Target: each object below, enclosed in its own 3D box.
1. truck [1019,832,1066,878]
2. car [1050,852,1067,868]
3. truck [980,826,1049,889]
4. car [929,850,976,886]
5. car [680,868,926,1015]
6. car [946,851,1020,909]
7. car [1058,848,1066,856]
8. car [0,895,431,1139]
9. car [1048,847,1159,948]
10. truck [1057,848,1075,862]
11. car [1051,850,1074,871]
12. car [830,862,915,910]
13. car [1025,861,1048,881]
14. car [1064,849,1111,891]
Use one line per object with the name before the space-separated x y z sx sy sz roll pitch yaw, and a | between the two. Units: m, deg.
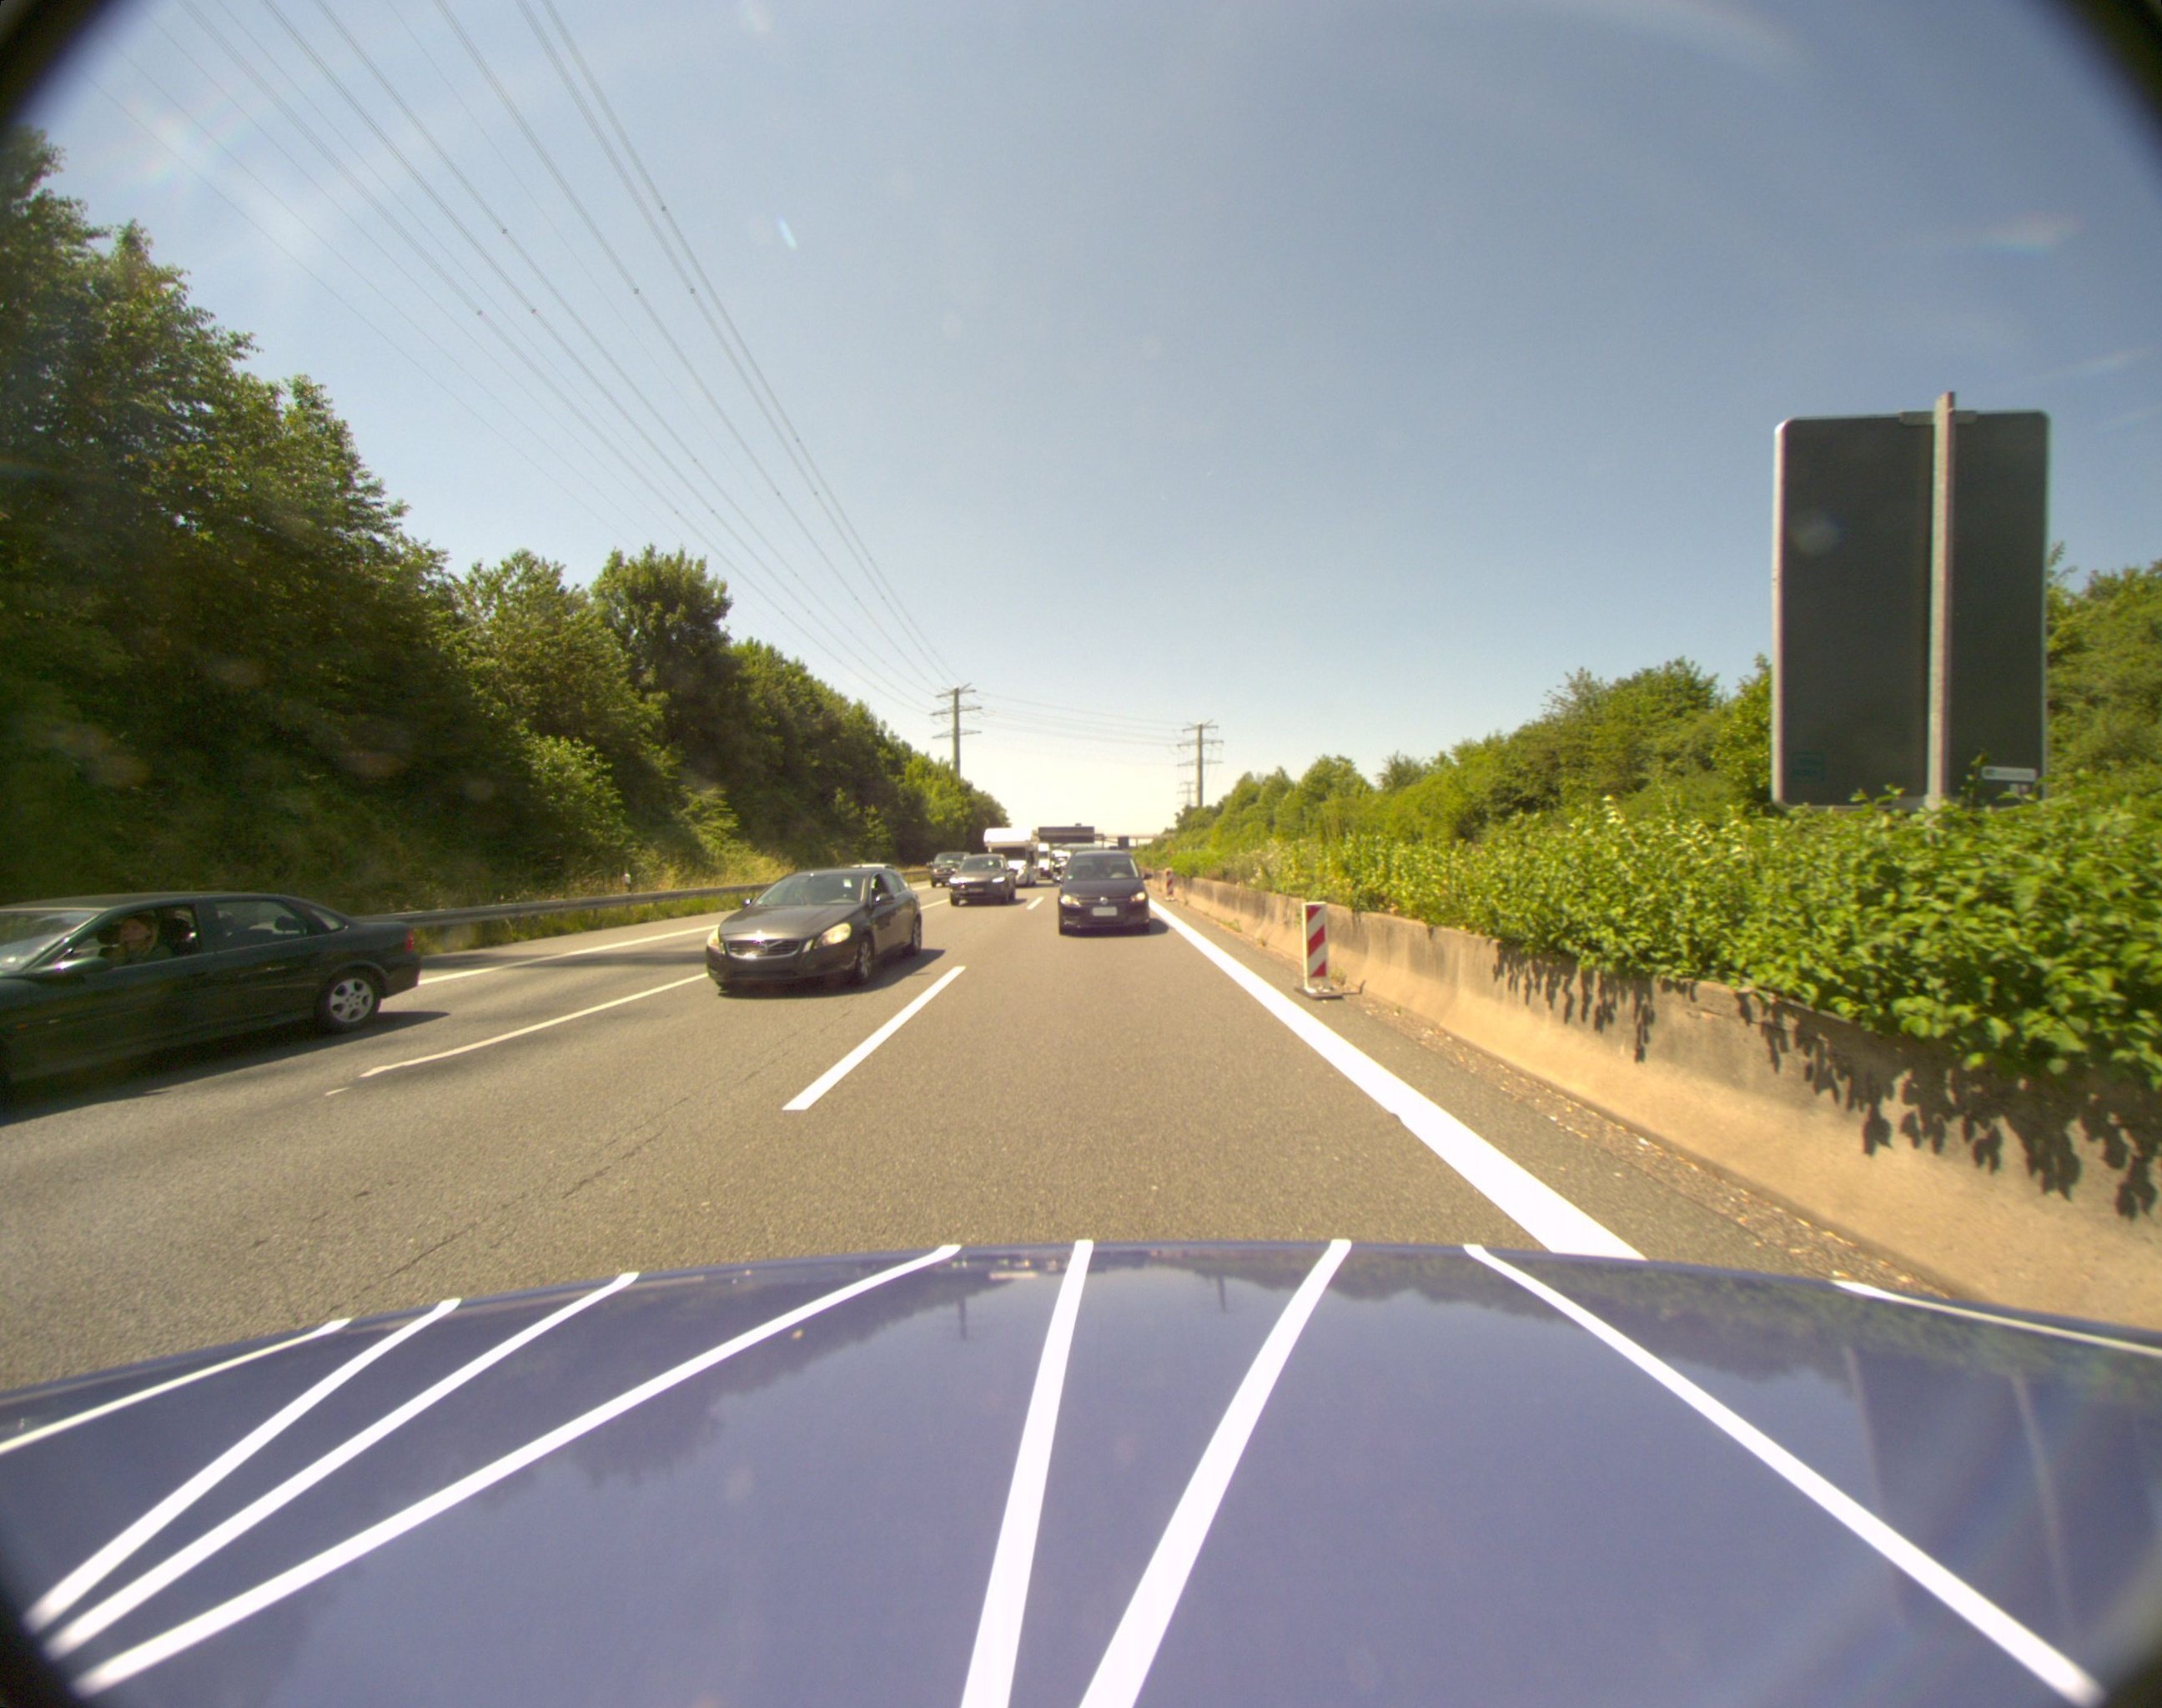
truck | -2.674 0.011 55.613 2.514 2.997 9.897 -2 1 2
car | -2.576 0.673 88.453 1.892 1.693 4.383 -2 1 0
truck | -3.473 0.114 42.104 2.514 2.997 9.897 -2 1 2
car | -7.335 0.758 43.894 1.788 1.893 4.698 -2 1 1
car | -3.483 1.001 10.455 1.800 1.429 4.230 -2 1 0
car | -3.203 0.787 25.659 1.892 1.693 4.383 -2 1 0
car | -4.994 -0.600 200.859 1.998 2.002 4.000 -2 1 1
car | -7.852 1.179 5.931 1.739 1.370 4.302 -2 1 1
car | 0.380 0.745 15.516 1.892 1.693 4.383 -2 1 0
truck | -2.395 0.132 123.074 2.408 2.203 6.744 -2 1 2
car | -1.600 0.545 66.964 1.892 1.693 4.383 -2 1 0
car | -7.212 1.060 26.633 1.745 1.461 4.014 -2 0 1
car | -4.190 1.613 72.664 1.892 1.693 4.383 -2 1 0
car | 0.255 0.674 34.175 1.892 1.693 4.383 -2 1 0
